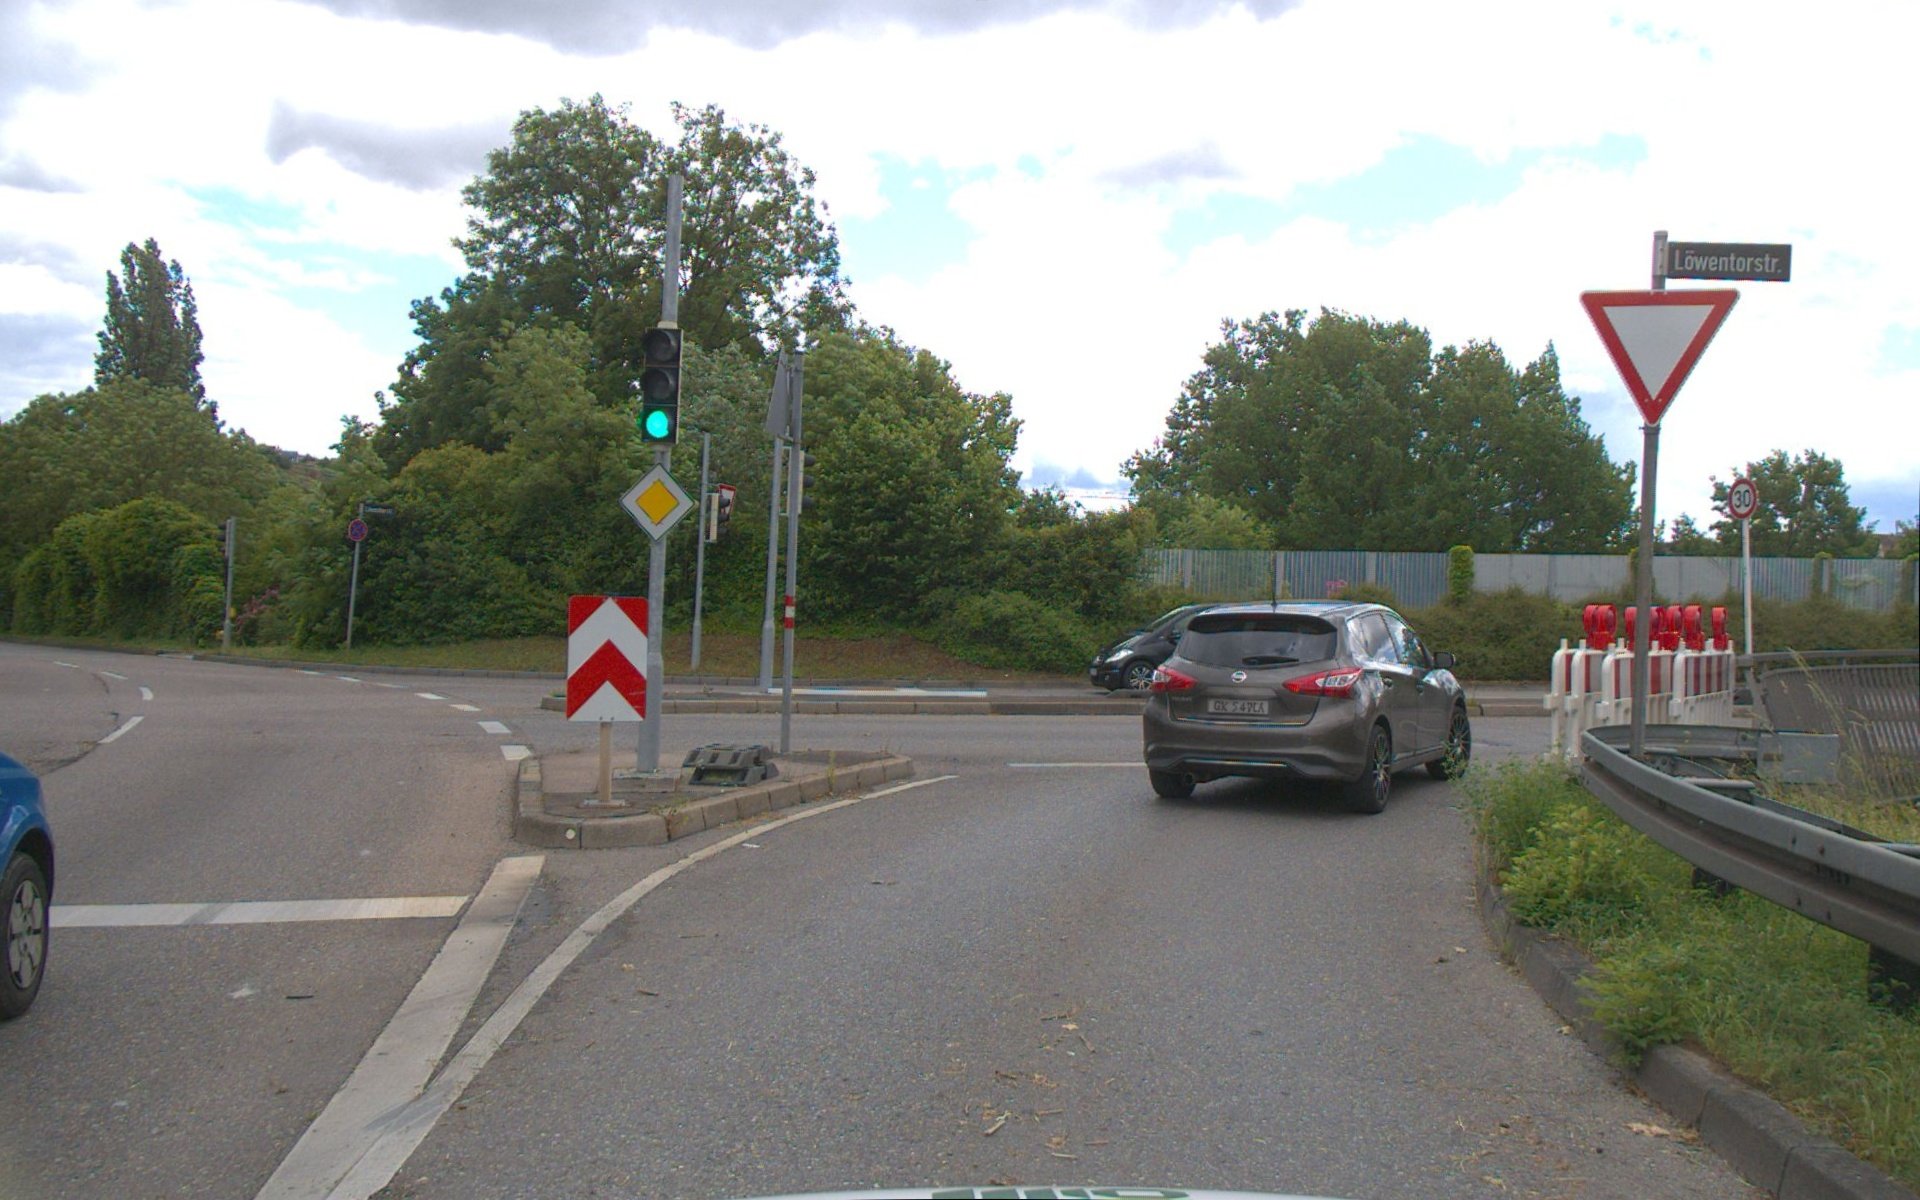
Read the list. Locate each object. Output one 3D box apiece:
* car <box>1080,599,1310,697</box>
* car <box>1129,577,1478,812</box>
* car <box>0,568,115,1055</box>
[{"bbox_3d":[4.145,0.863,29.394,3.707,1.579,1.639,2,-2,-10],"label":"car"},{"bbox_3d":[2.934,0.657,13.420,1.763,1.579,3.995,1,0,27],"label":"car"},{"bbox_3d":[-3.642,0.661,4.415,1.515,1.534,3.372,1,0,-10],"label":"car"}]
